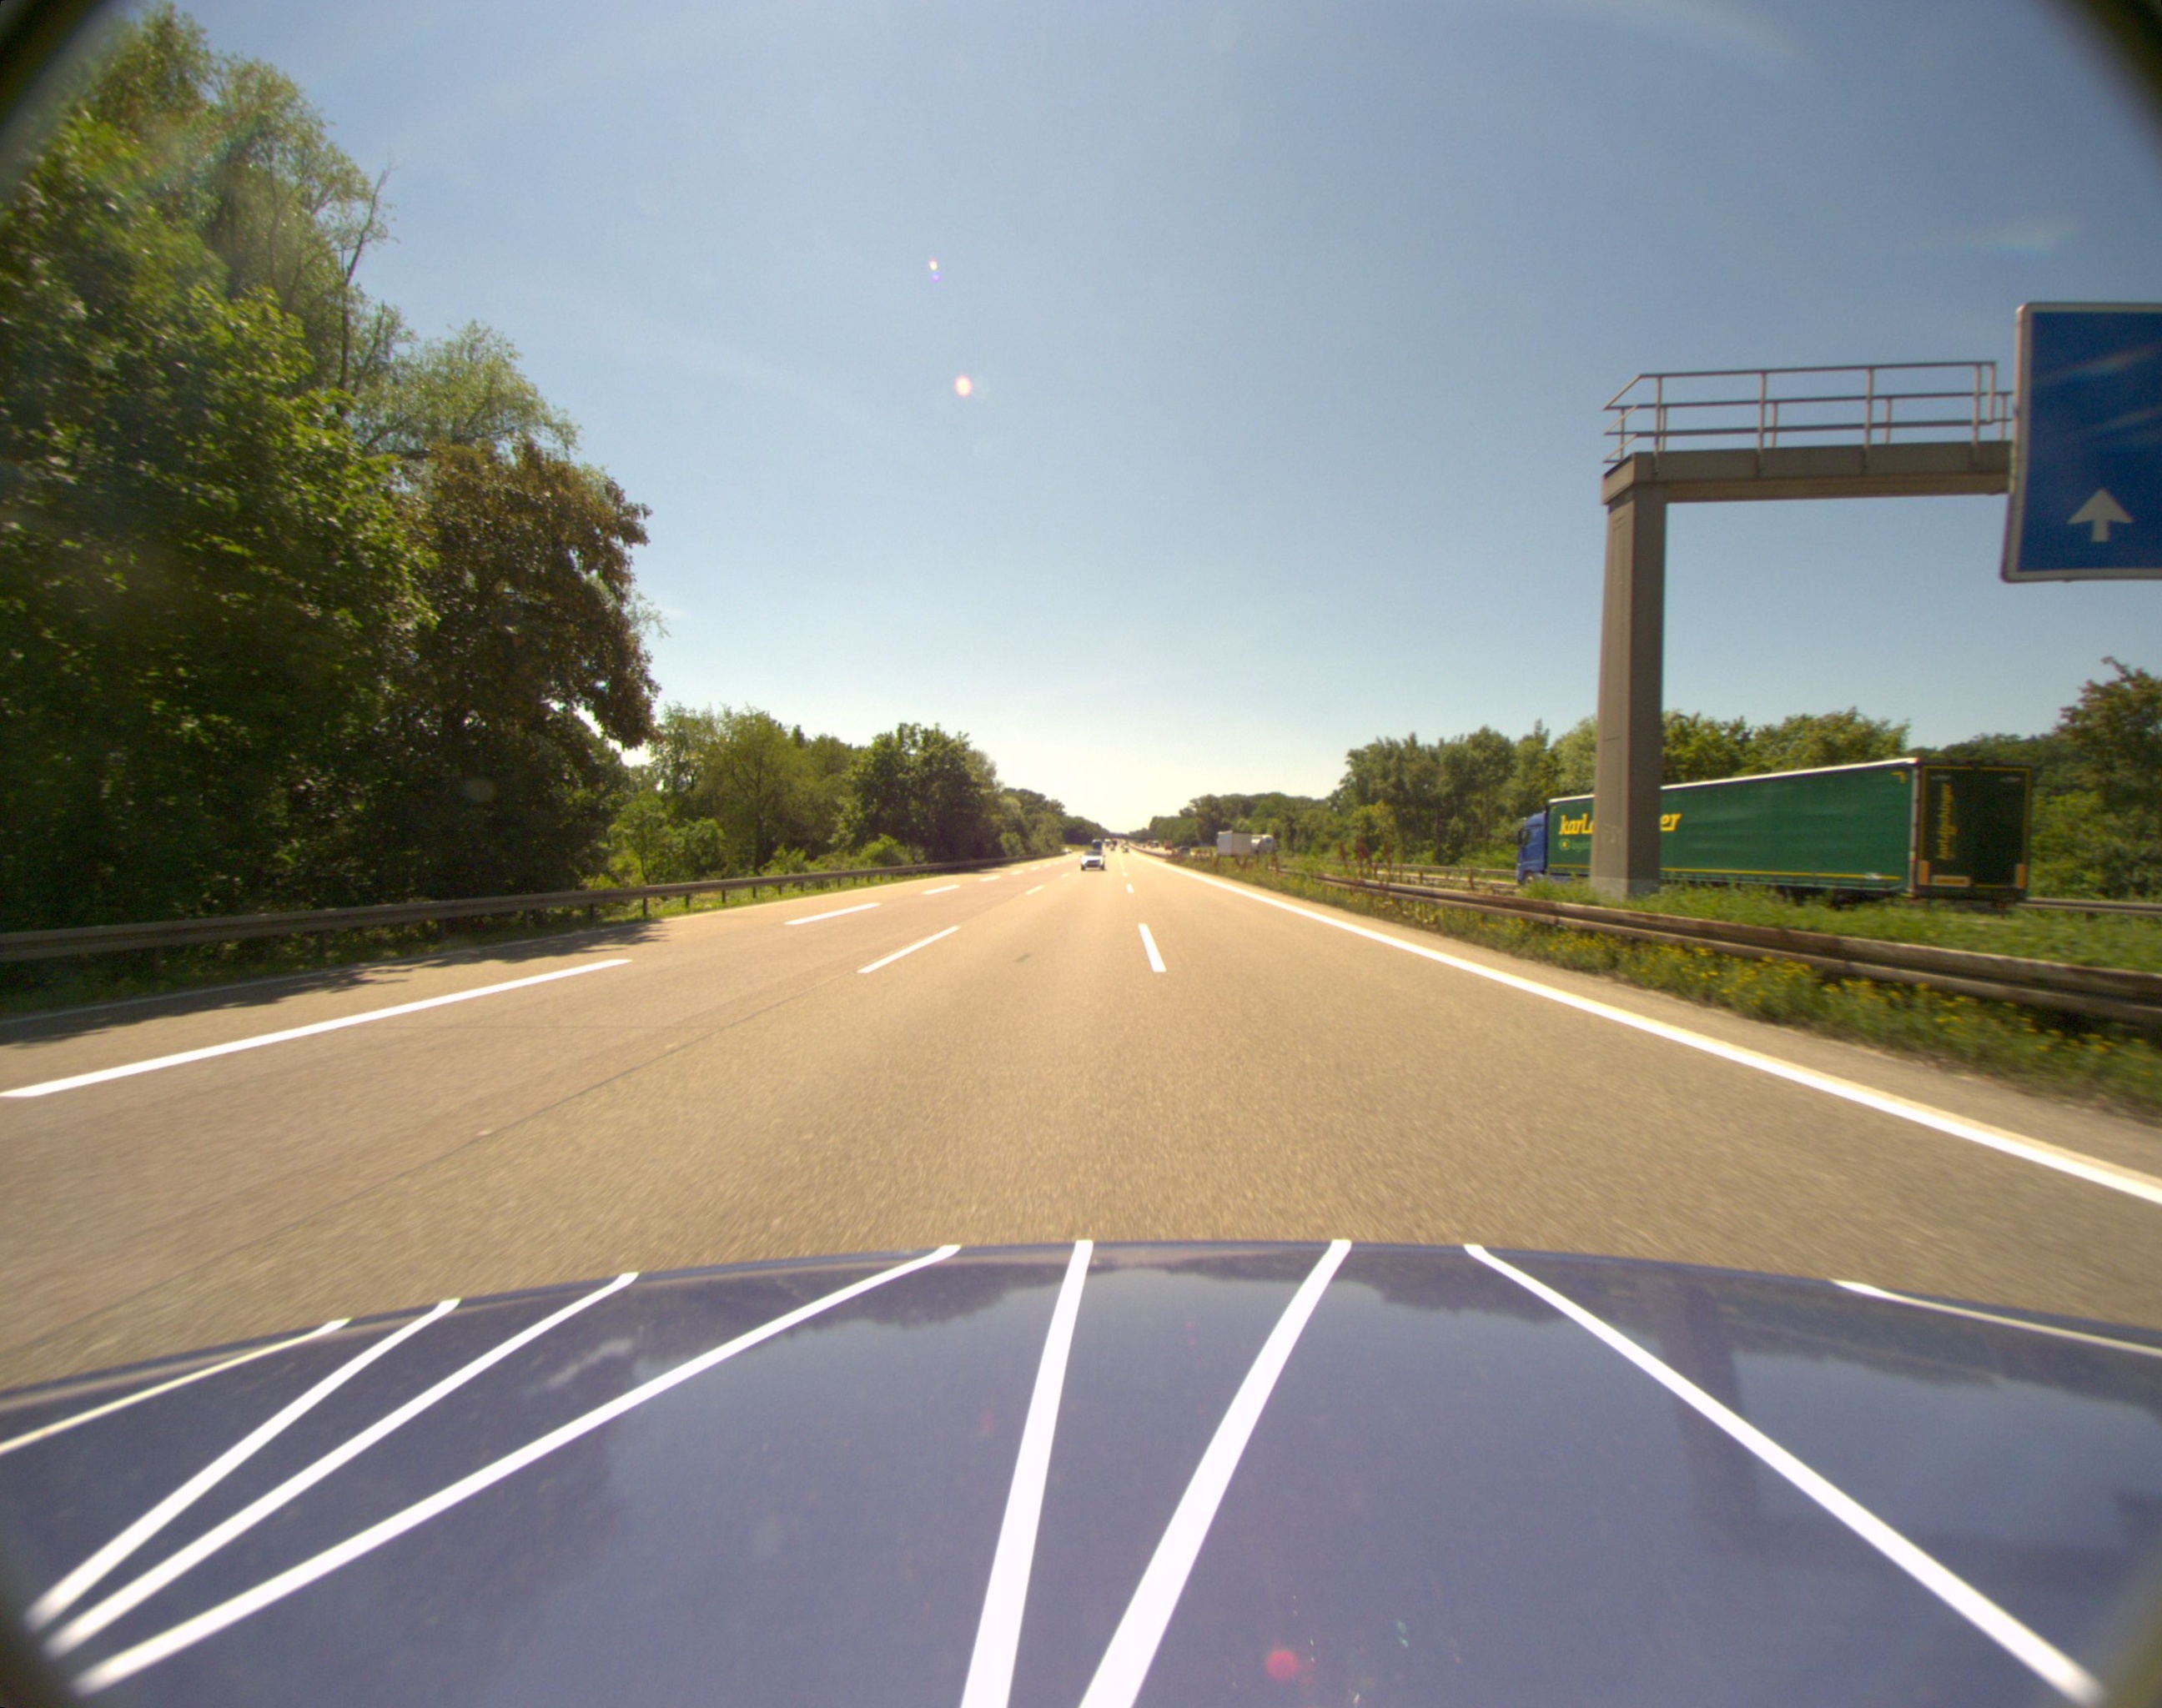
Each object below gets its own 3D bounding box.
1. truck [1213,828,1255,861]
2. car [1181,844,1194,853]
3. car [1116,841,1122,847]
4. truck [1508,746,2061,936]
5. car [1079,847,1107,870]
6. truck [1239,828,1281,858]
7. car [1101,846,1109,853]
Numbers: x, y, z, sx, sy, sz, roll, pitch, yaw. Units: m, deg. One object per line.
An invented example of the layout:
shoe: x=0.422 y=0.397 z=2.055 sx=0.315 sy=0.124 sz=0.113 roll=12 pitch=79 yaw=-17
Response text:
truck: x=21.281 y=-1.293 z=106.870 sx=2.962 sy=4.221 sz=17.182 roll=1 pitch=1 yaw=2
car: x=19.277 y=-1.029 z=138.070 sx=1.998 sy=1.580 sz=4.818 roll=1 pitch=1 yaw=3
car: x=12.364 y=-3.201 z=245.822 sx=1.840 sy=2.002 sz=4.000 roll=0 pitch=1 yaw=3
truck: x=21.188 y=-0.401 z=26.522 sx=2.962 sy=4.317 sz=18.242 roll=1 pitch=1 yaw=2
car: x=0.929 y=0.280 z=55.044 sx=1.845 sy=1.565 sz=4.000 roll=-1 pitch=1 yaw=3
truck: x=25.864 y=-1.570 z=110.713 sx=2.962 sy=3.995 sz=15.821 roll=1 pitch=1 yaw=2
car: x=6.511 y=-1.251 z=206.209 sx=1.998 sy=2.002 sz=4.000 roll=1 pitch=1 yaw=1
